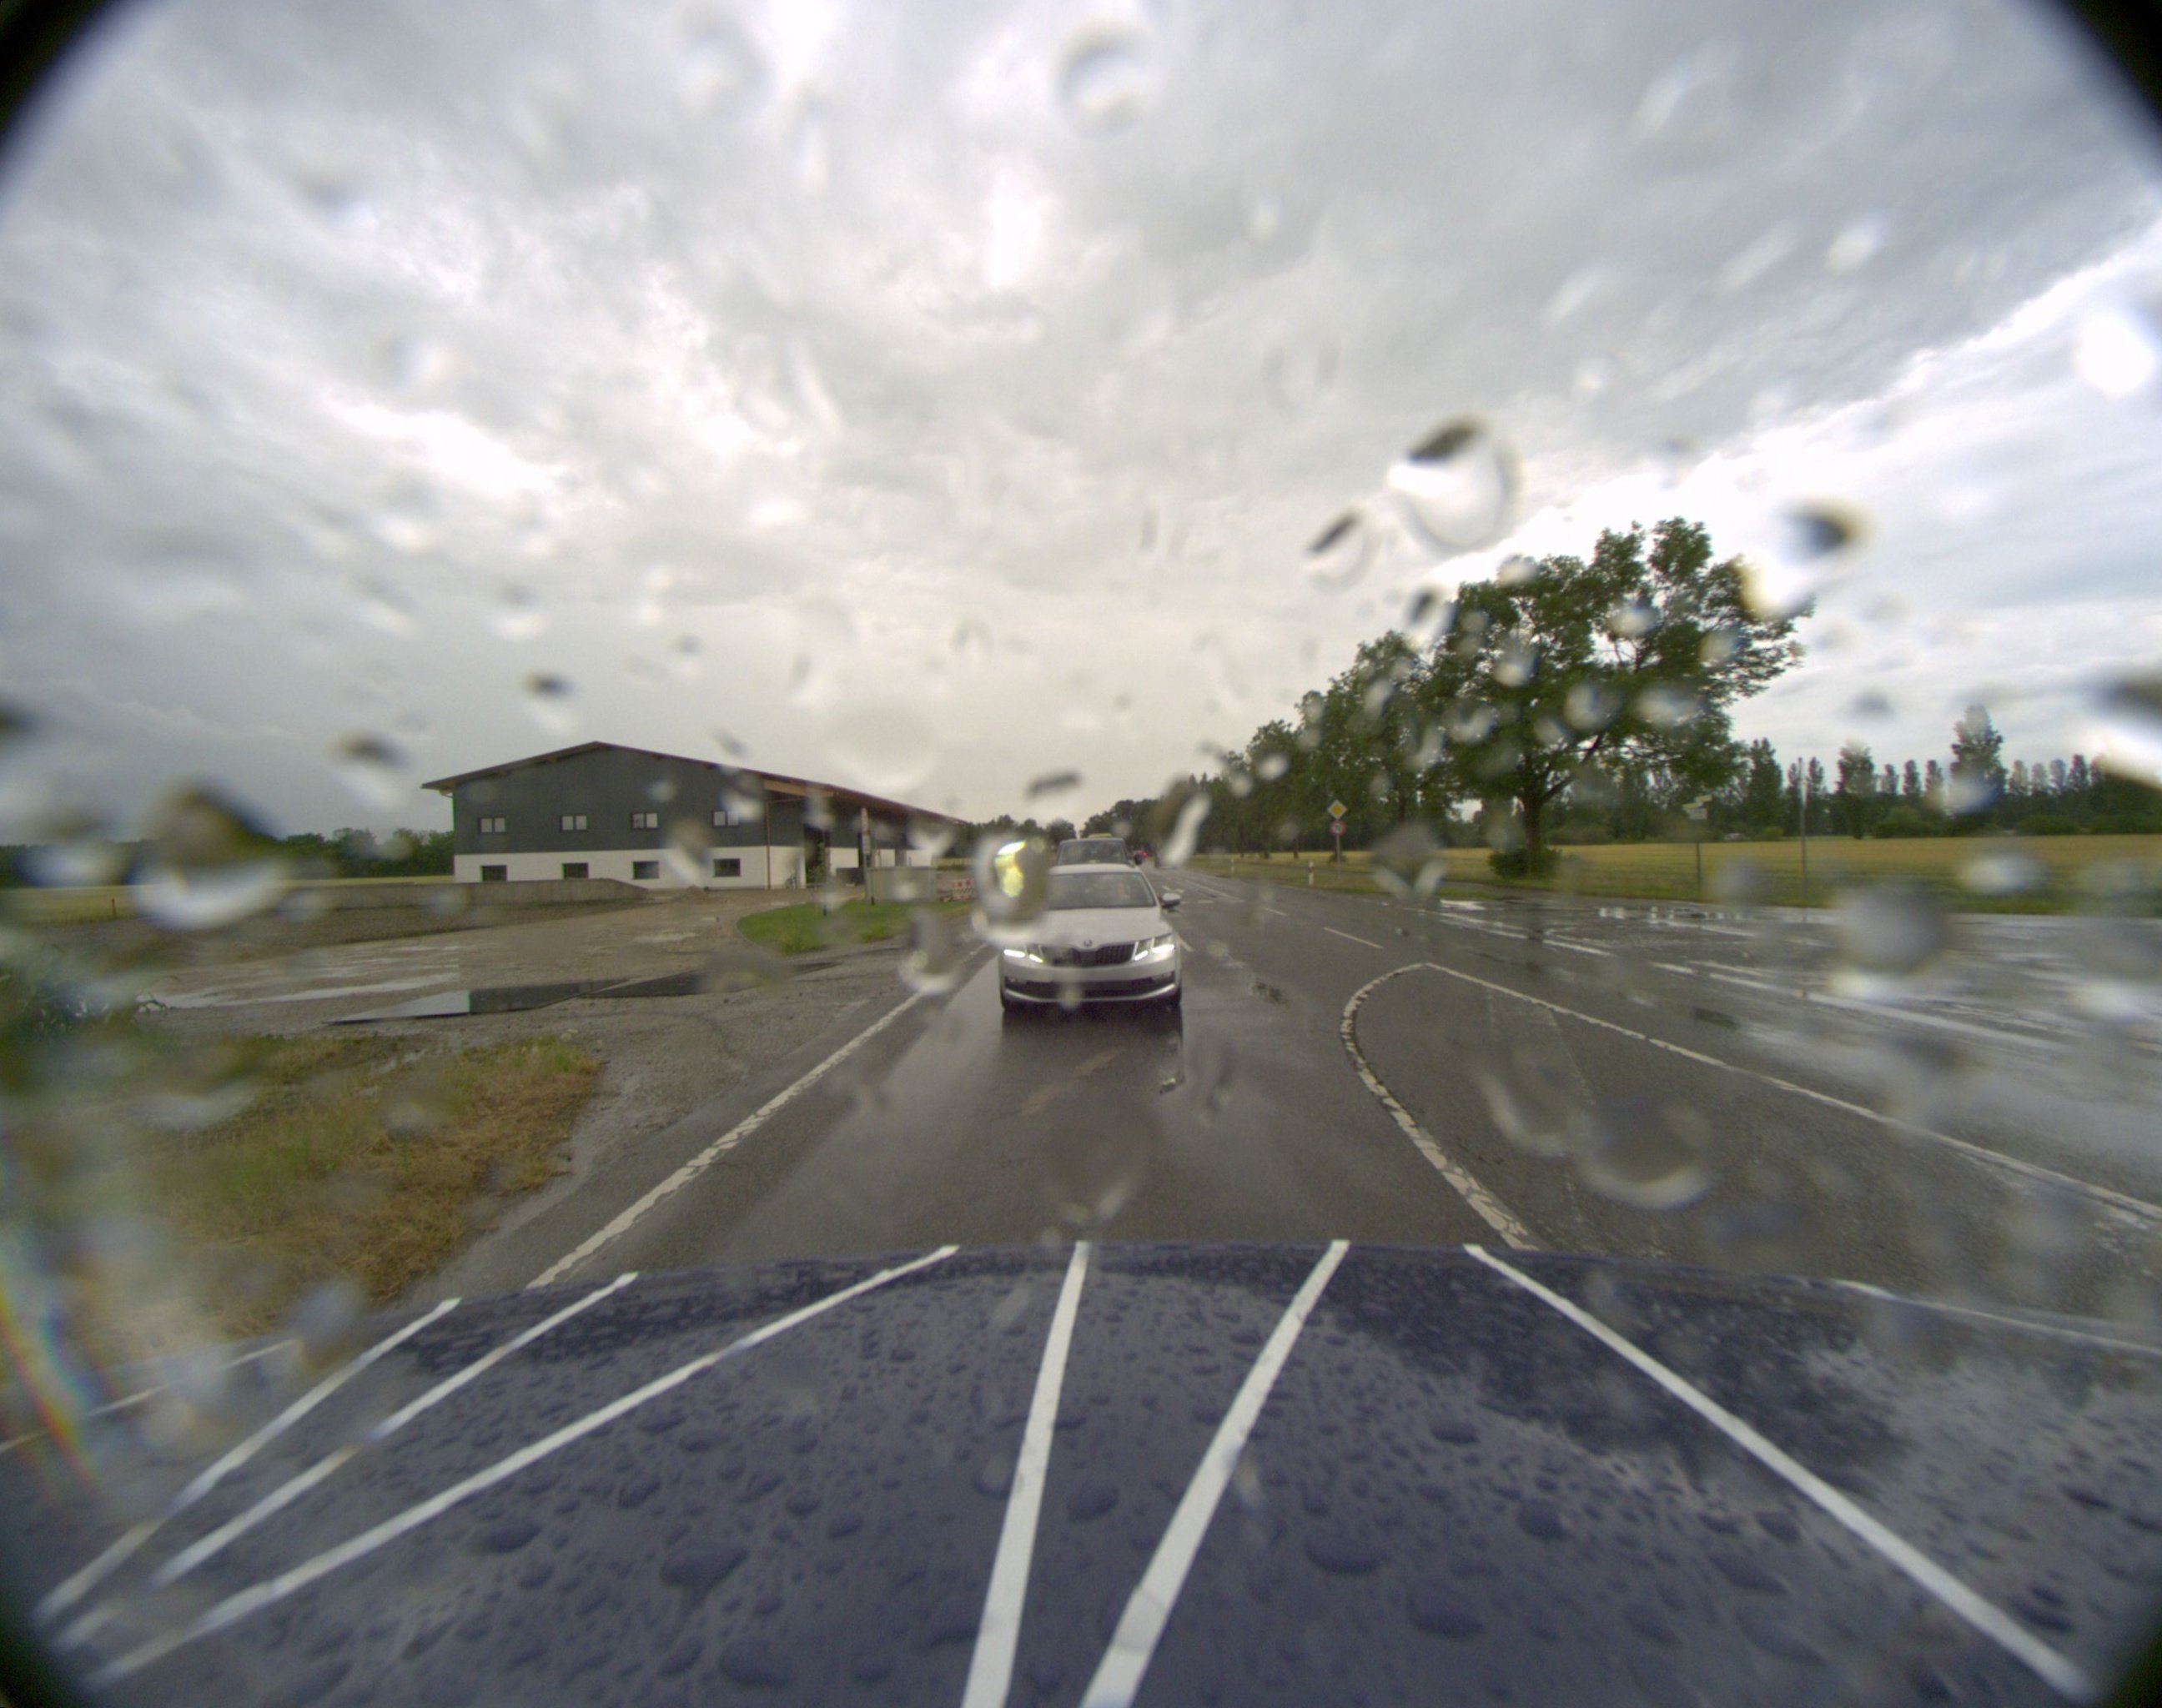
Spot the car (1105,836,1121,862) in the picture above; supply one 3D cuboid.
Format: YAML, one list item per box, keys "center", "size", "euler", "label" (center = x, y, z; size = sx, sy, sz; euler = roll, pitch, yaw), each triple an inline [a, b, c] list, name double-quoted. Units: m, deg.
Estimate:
- center: [3.848, -0.615, 92.844]
  size: [1.771, 3.134, 4.028]
  euler: [-2, 1, 1]
  label: "car"

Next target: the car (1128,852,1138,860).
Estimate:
- center: [9.247, 0.362, 134.650]
  size: [1.716, 1.397, 3.814]
  euler: [-1, 0, 3]
  label: "car"

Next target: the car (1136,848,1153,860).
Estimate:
- center: [8.859, -0.037, 106.162]
  size: [1.948, 1.571, 4.443]
  euler: [-1, 0, 1]
  label: "car"

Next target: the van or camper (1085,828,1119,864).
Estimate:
- center: [2.235, -0.851, 80.916]
  size: [3.342, 3.624, 8.373]
  euler: [-2, 1, 2]
  label: "van or camper"

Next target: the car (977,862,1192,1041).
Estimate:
- center: [0.101, 0.853, 8.680]
  size: [1.770, 1.365, 4.576]
  euler: [-2, 1, 2]
  label: "car"

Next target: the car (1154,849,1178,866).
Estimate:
- center: [7.433, 0.290, 66.598]
  size: [1.773, 1.514, 4.141]
  euler: [0, 0, 2]
  label: "car"

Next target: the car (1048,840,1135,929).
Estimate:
- center: [0.300, 0.638, 18.872]
  size: [1.840, 1.888, 4.576]
  euler: [-2, 1, 2]
  label: "car"
